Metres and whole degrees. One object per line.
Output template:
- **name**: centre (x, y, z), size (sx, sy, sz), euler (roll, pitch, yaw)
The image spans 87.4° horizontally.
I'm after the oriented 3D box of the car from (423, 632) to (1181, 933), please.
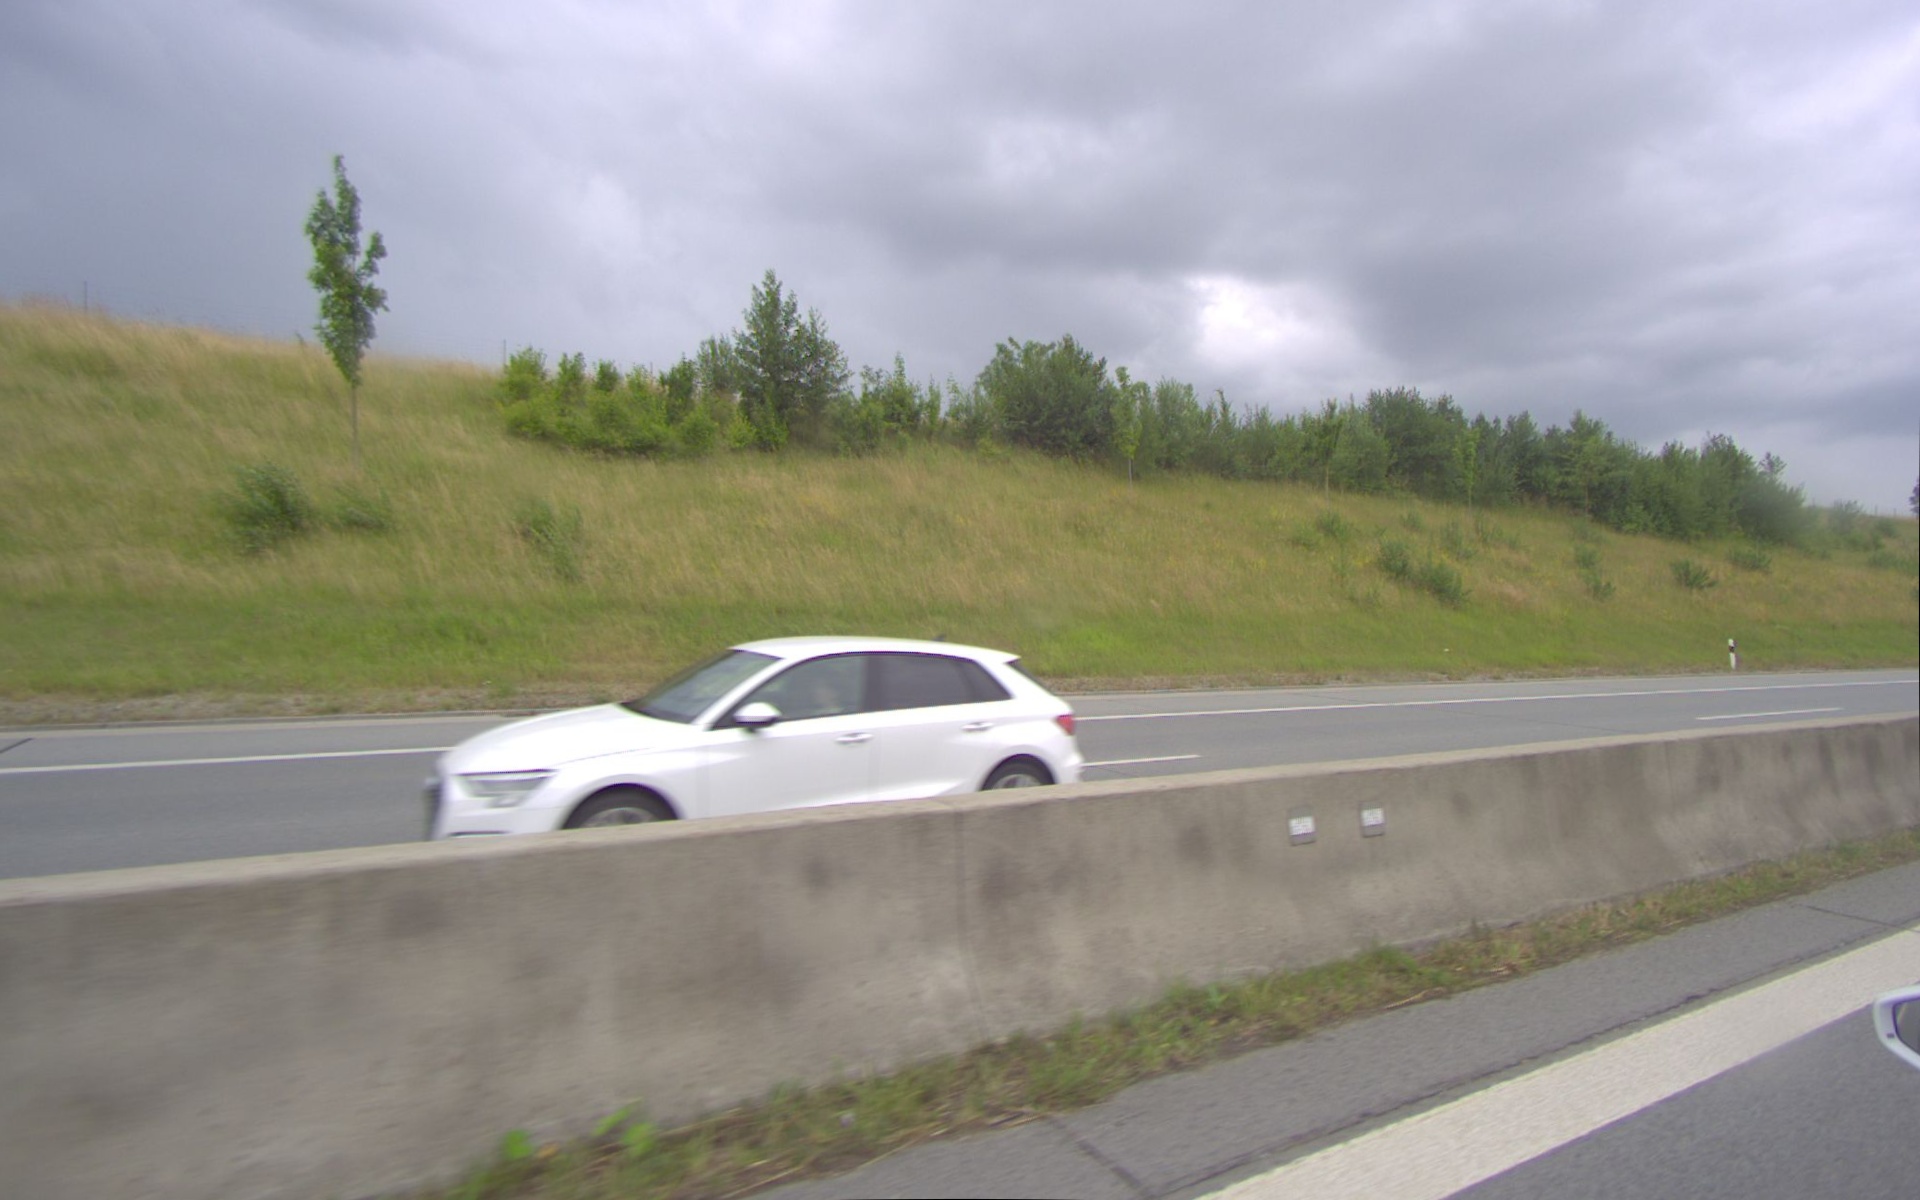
- **car**: centre (-0.900, 0.960, 6.902), size (4.852, 1.429, 1.775), euler (1, -1, -31)
